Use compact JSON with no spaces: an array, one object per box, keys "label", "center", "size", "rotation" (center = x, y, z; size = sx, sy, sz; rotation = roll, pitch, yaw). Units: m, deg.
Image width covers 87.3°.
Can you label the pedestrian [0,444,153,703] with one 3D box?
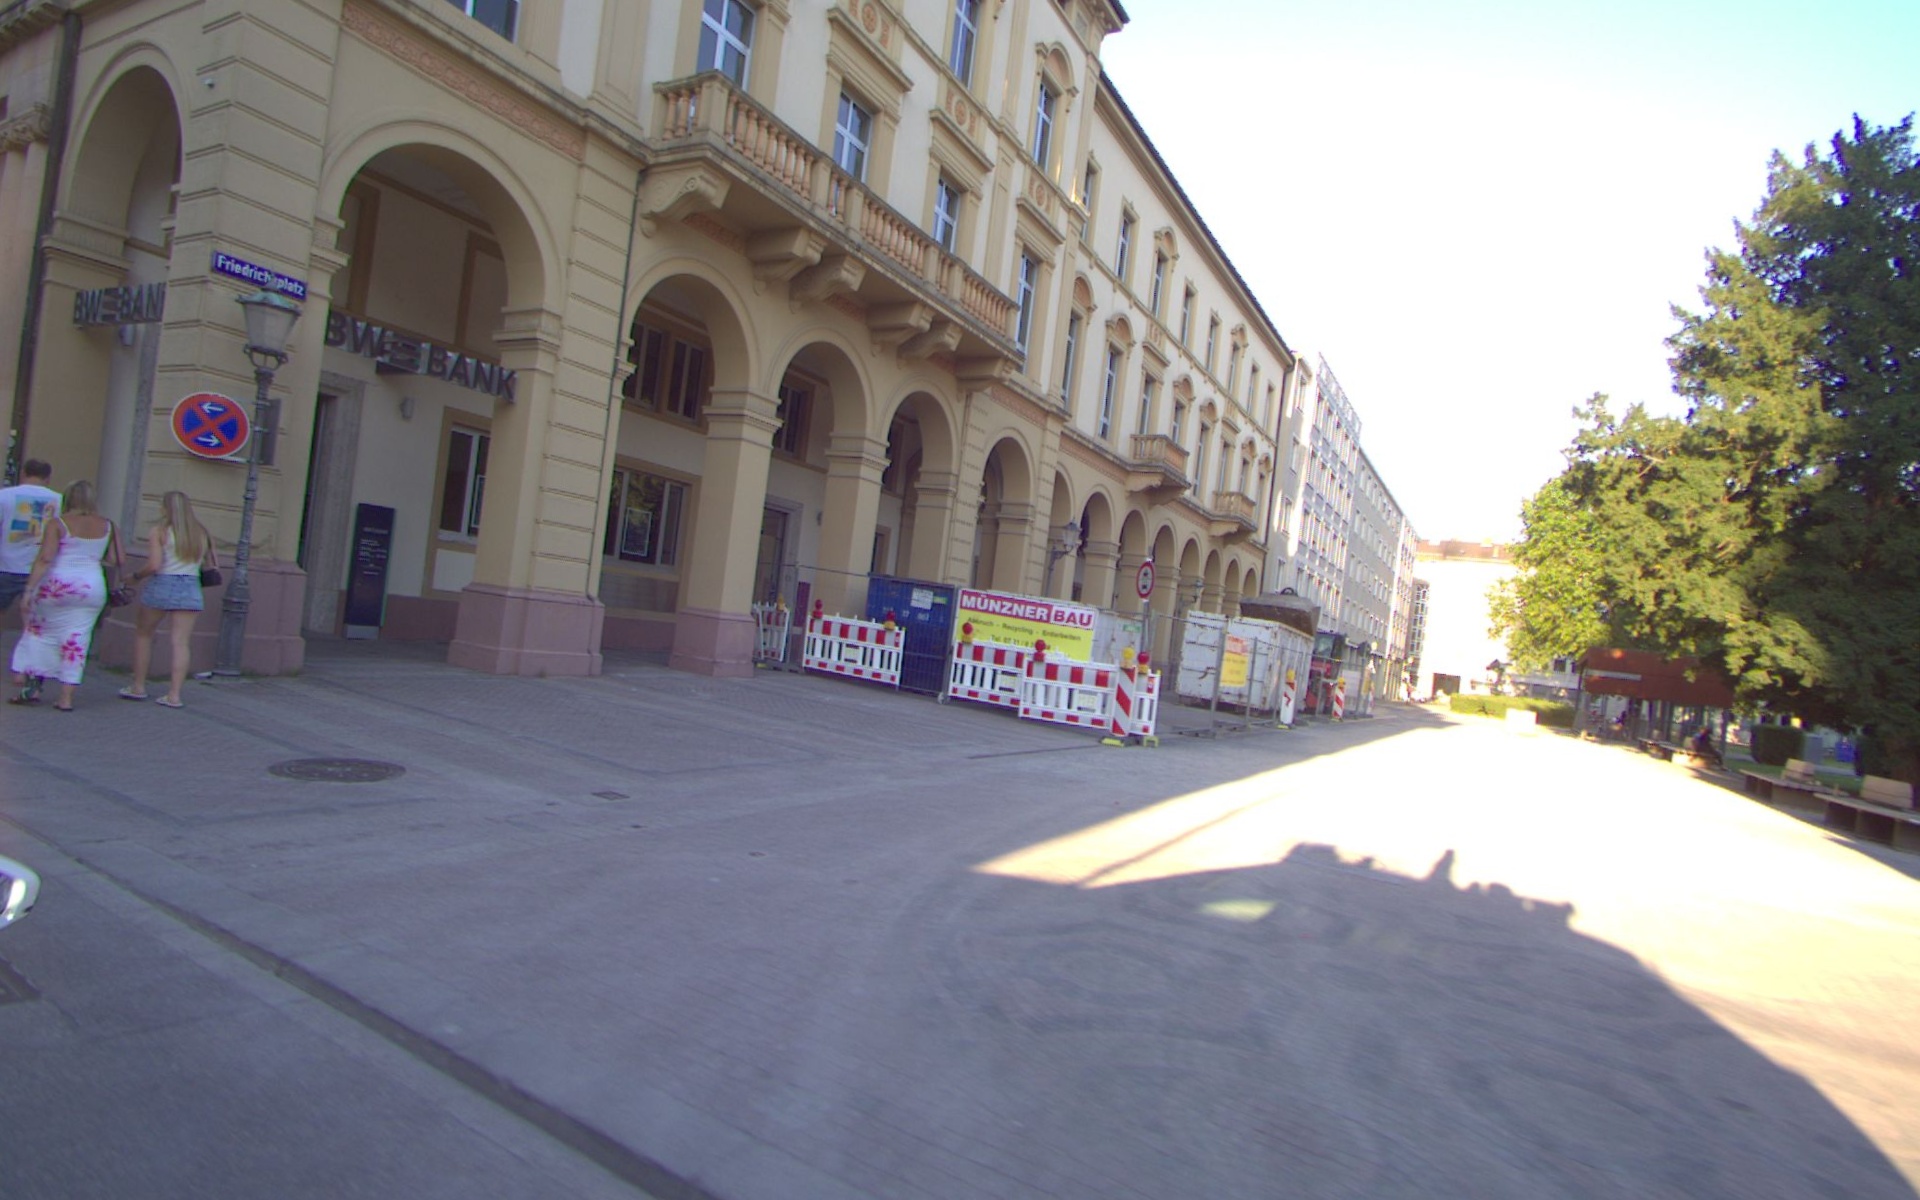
[{"label":"pedestrian","center":[-6.720,-0.192,7.573],"size":[0.759,1.825,0.637],"rotation":[6,0,30]}]

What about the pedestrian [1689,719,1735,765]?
[{"label":"pedestrian","center":[23.521,4.419,31.481],"size":[0.910,1.267,0.709],"rotation":[7,0,26]}]

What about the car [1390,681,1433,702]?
[{"label":"car","center":[48.206,9.751,107.410],"size":[3.915,1.615,1.718],"rotation":[6,-1,29]}]

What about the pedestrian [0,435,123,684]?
[{"label":"pedestrian","center":[-7.559,-0.319,8.149],"size":[0.860,1.898,0.813],"rotation":[6,0,30]}]

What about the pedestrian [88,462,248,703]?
[{"label":"pedestrian","center":[-6.408,-0.135,8.146],"size":[0.759,1.825,0.637],"rotation":[6,0,30]}]

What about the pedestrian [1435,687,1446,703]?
[{"label":"pedestrian","center":[51.455,10.144,107.666],"size":[0.834,1.615,0.644],"rotation":[6,0,29]}]

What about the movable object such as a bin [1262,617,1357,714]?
[{"label":"movable object such as a bin","center":[12.638,2.370,36.132],"size":[1.967,3.044,4.894],"rotation":[7,-1,31]}]

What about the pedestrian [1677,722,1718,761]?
[{"label":"pedestrian","center":[23.715,4.542,32.363],"size":[0.819,1.105,0.709],"rotation":[7,0,25]}]
